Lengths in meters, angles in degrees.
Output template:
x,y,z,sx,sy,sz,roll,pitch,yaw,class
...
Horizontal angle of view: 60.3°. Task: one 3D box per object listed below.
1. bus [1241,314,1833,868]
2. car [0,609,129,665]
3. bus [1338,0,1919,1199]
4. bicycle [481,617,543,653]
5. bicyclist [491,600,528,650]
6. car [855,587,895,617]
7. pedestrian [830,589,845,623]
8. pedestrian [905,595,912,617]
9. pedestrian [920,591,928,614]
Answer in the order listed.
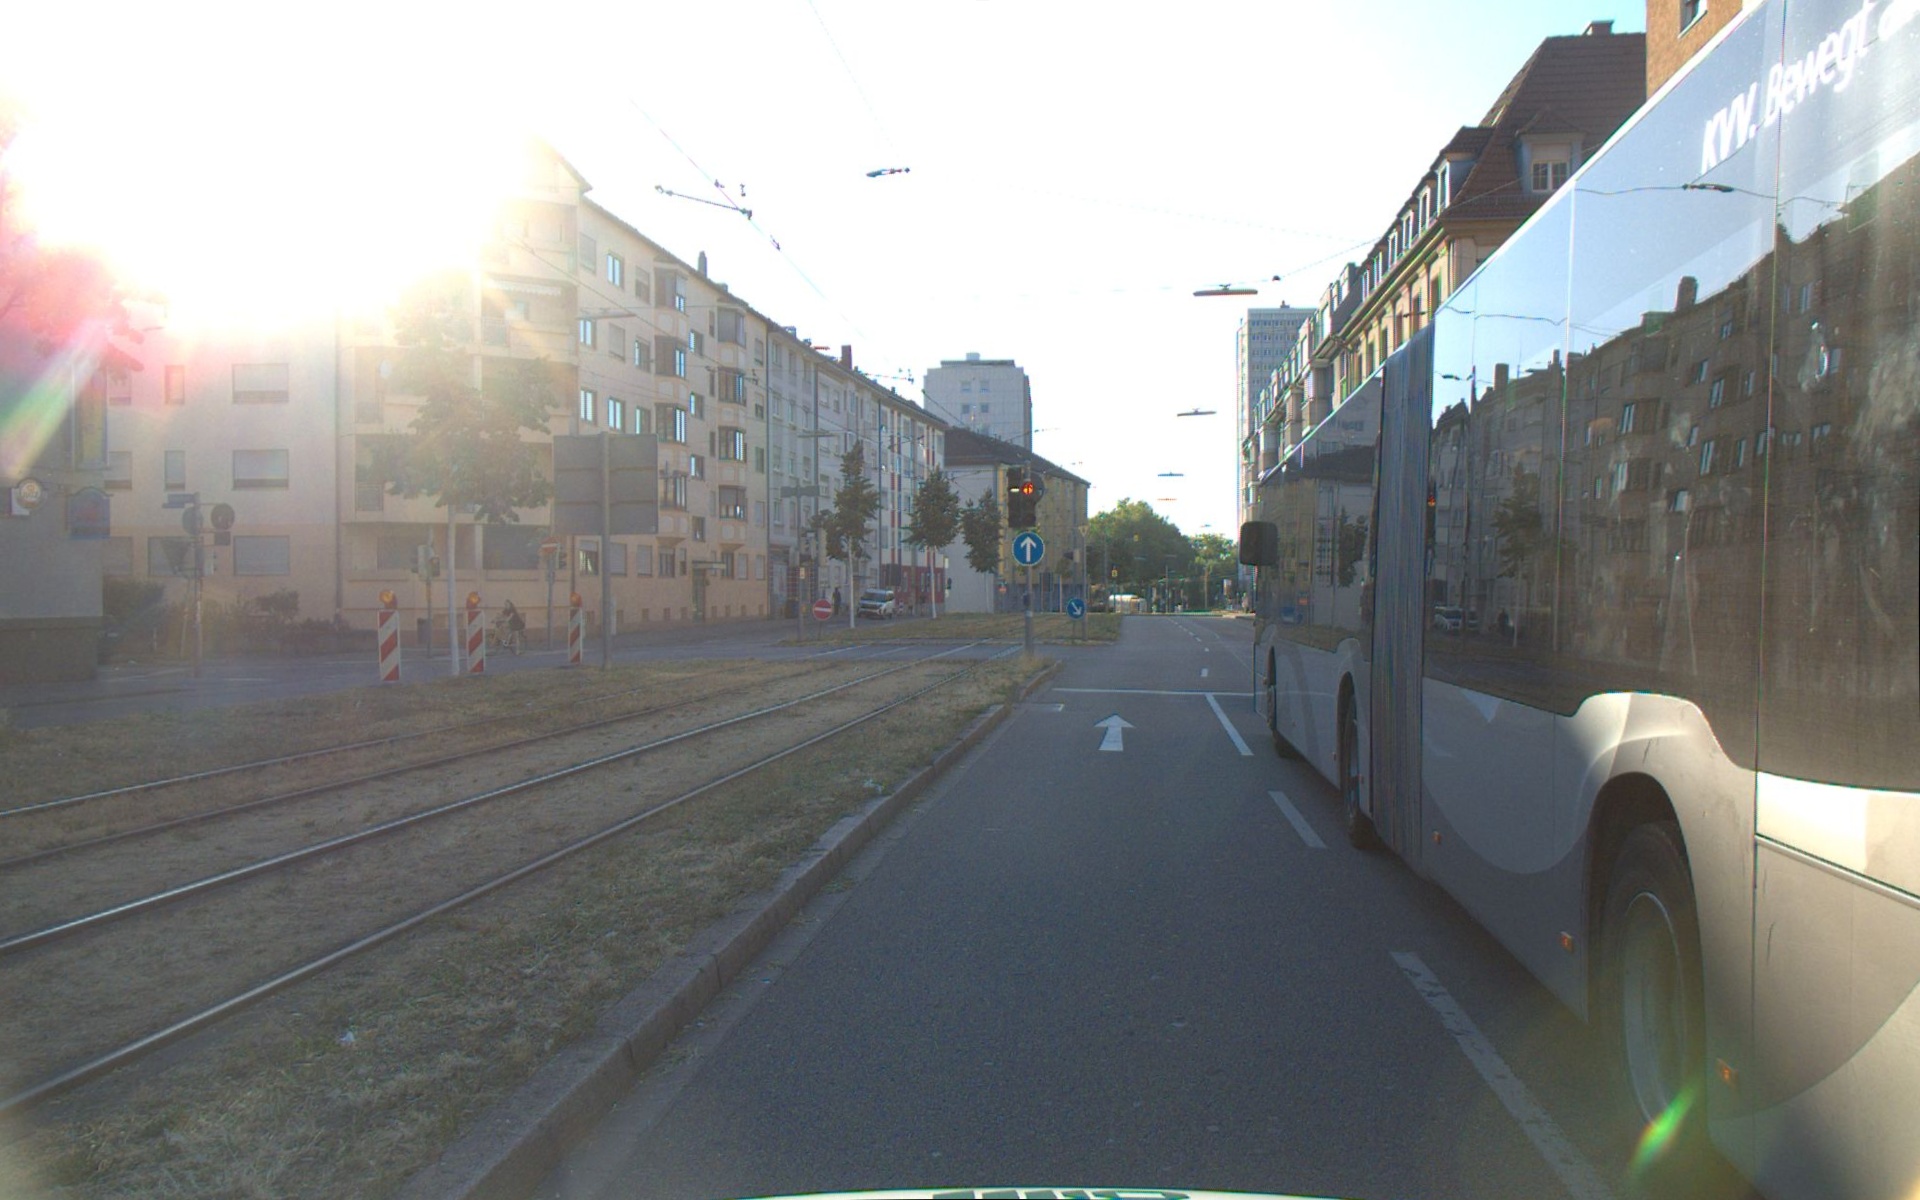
x,y,z,sx,sy,sz,roll,pitch,yaw,class
4.035,-0.092,13.961,2.680,3.109,9.137,1,0,6,bus
-25.501,1.033,45.981,3.880,1.465,1.789,-1,0,-4,car
3.066,-0.061,5.016,2.680,3.109,8.860,1,0,6,bus
-13.419,1.037,49.540,0.519,1.001,1.875,-1,0,36,bicycle
-13.459,0.730,49.422,0.519,1.472,0.961,-1,0,36,bicyclist
-5.394,0.167,105.410,1.773,1.829,4.248,1,0,8,car
-7.597,0.363,102.703,0.770,2.049,0.891,0,0,3,pedestrian
-3.840,0.443,123.777,0.485,1.687,0.409,-1,0,7,pedestrian
-2.716,0.190,124.050,0.485,1.687,0.409,-1,0,7,pedestrian
